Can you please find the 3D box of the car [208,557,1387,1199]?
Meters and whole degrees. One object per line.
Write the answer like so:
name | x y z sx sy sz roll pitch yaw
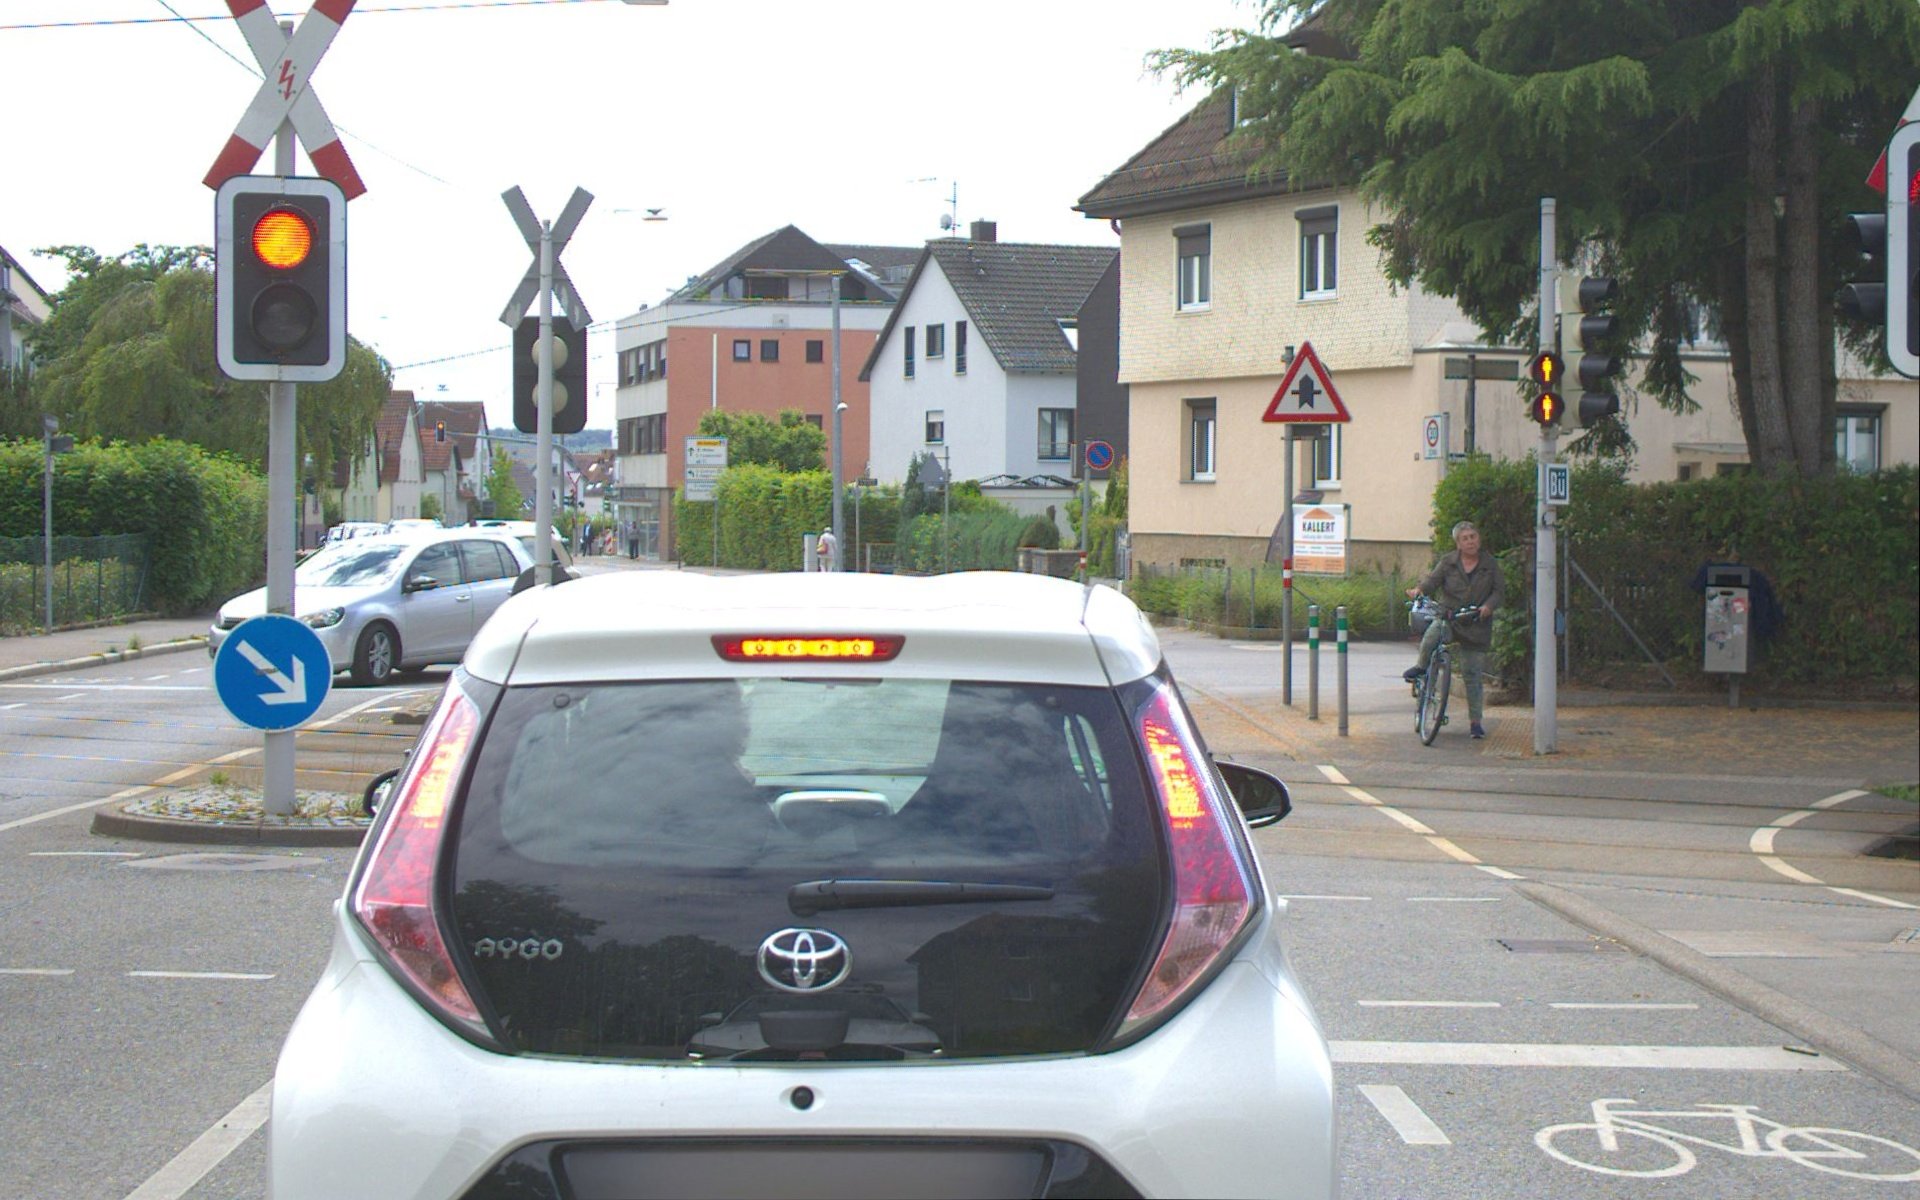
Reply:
car | -0.249 0.668 6.747 1.621 1.481 4.000 0 1 -1

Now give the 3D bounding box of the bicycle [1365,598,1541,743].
bicycle | 3.797 0.518 26.348 0.933 1.037 1.913 0 1 21

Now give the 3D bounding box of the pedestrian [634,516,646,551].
pedestrian | -13.174 -2.752 141.643 0.413 1.433 0.438 1 1 -11

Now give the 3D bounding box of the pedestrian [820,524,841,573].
pedestrian | -3.805 -1.526 101.196 0.414 1.433 0.436 3 2 42

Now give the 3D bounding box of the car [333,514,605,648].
car | -5.778 -0.216 40.597 1.579 1.505 2.781 2 1 42

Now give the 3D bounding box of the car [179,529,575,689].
car | -5.778 0.040 34.511 1.691 1.453 4.063 2 2 31

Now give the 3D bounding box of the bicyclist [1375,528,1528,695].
bicyclist | 3.762 0.073 26.251 0.933 1.243 1.101 0 1 21
